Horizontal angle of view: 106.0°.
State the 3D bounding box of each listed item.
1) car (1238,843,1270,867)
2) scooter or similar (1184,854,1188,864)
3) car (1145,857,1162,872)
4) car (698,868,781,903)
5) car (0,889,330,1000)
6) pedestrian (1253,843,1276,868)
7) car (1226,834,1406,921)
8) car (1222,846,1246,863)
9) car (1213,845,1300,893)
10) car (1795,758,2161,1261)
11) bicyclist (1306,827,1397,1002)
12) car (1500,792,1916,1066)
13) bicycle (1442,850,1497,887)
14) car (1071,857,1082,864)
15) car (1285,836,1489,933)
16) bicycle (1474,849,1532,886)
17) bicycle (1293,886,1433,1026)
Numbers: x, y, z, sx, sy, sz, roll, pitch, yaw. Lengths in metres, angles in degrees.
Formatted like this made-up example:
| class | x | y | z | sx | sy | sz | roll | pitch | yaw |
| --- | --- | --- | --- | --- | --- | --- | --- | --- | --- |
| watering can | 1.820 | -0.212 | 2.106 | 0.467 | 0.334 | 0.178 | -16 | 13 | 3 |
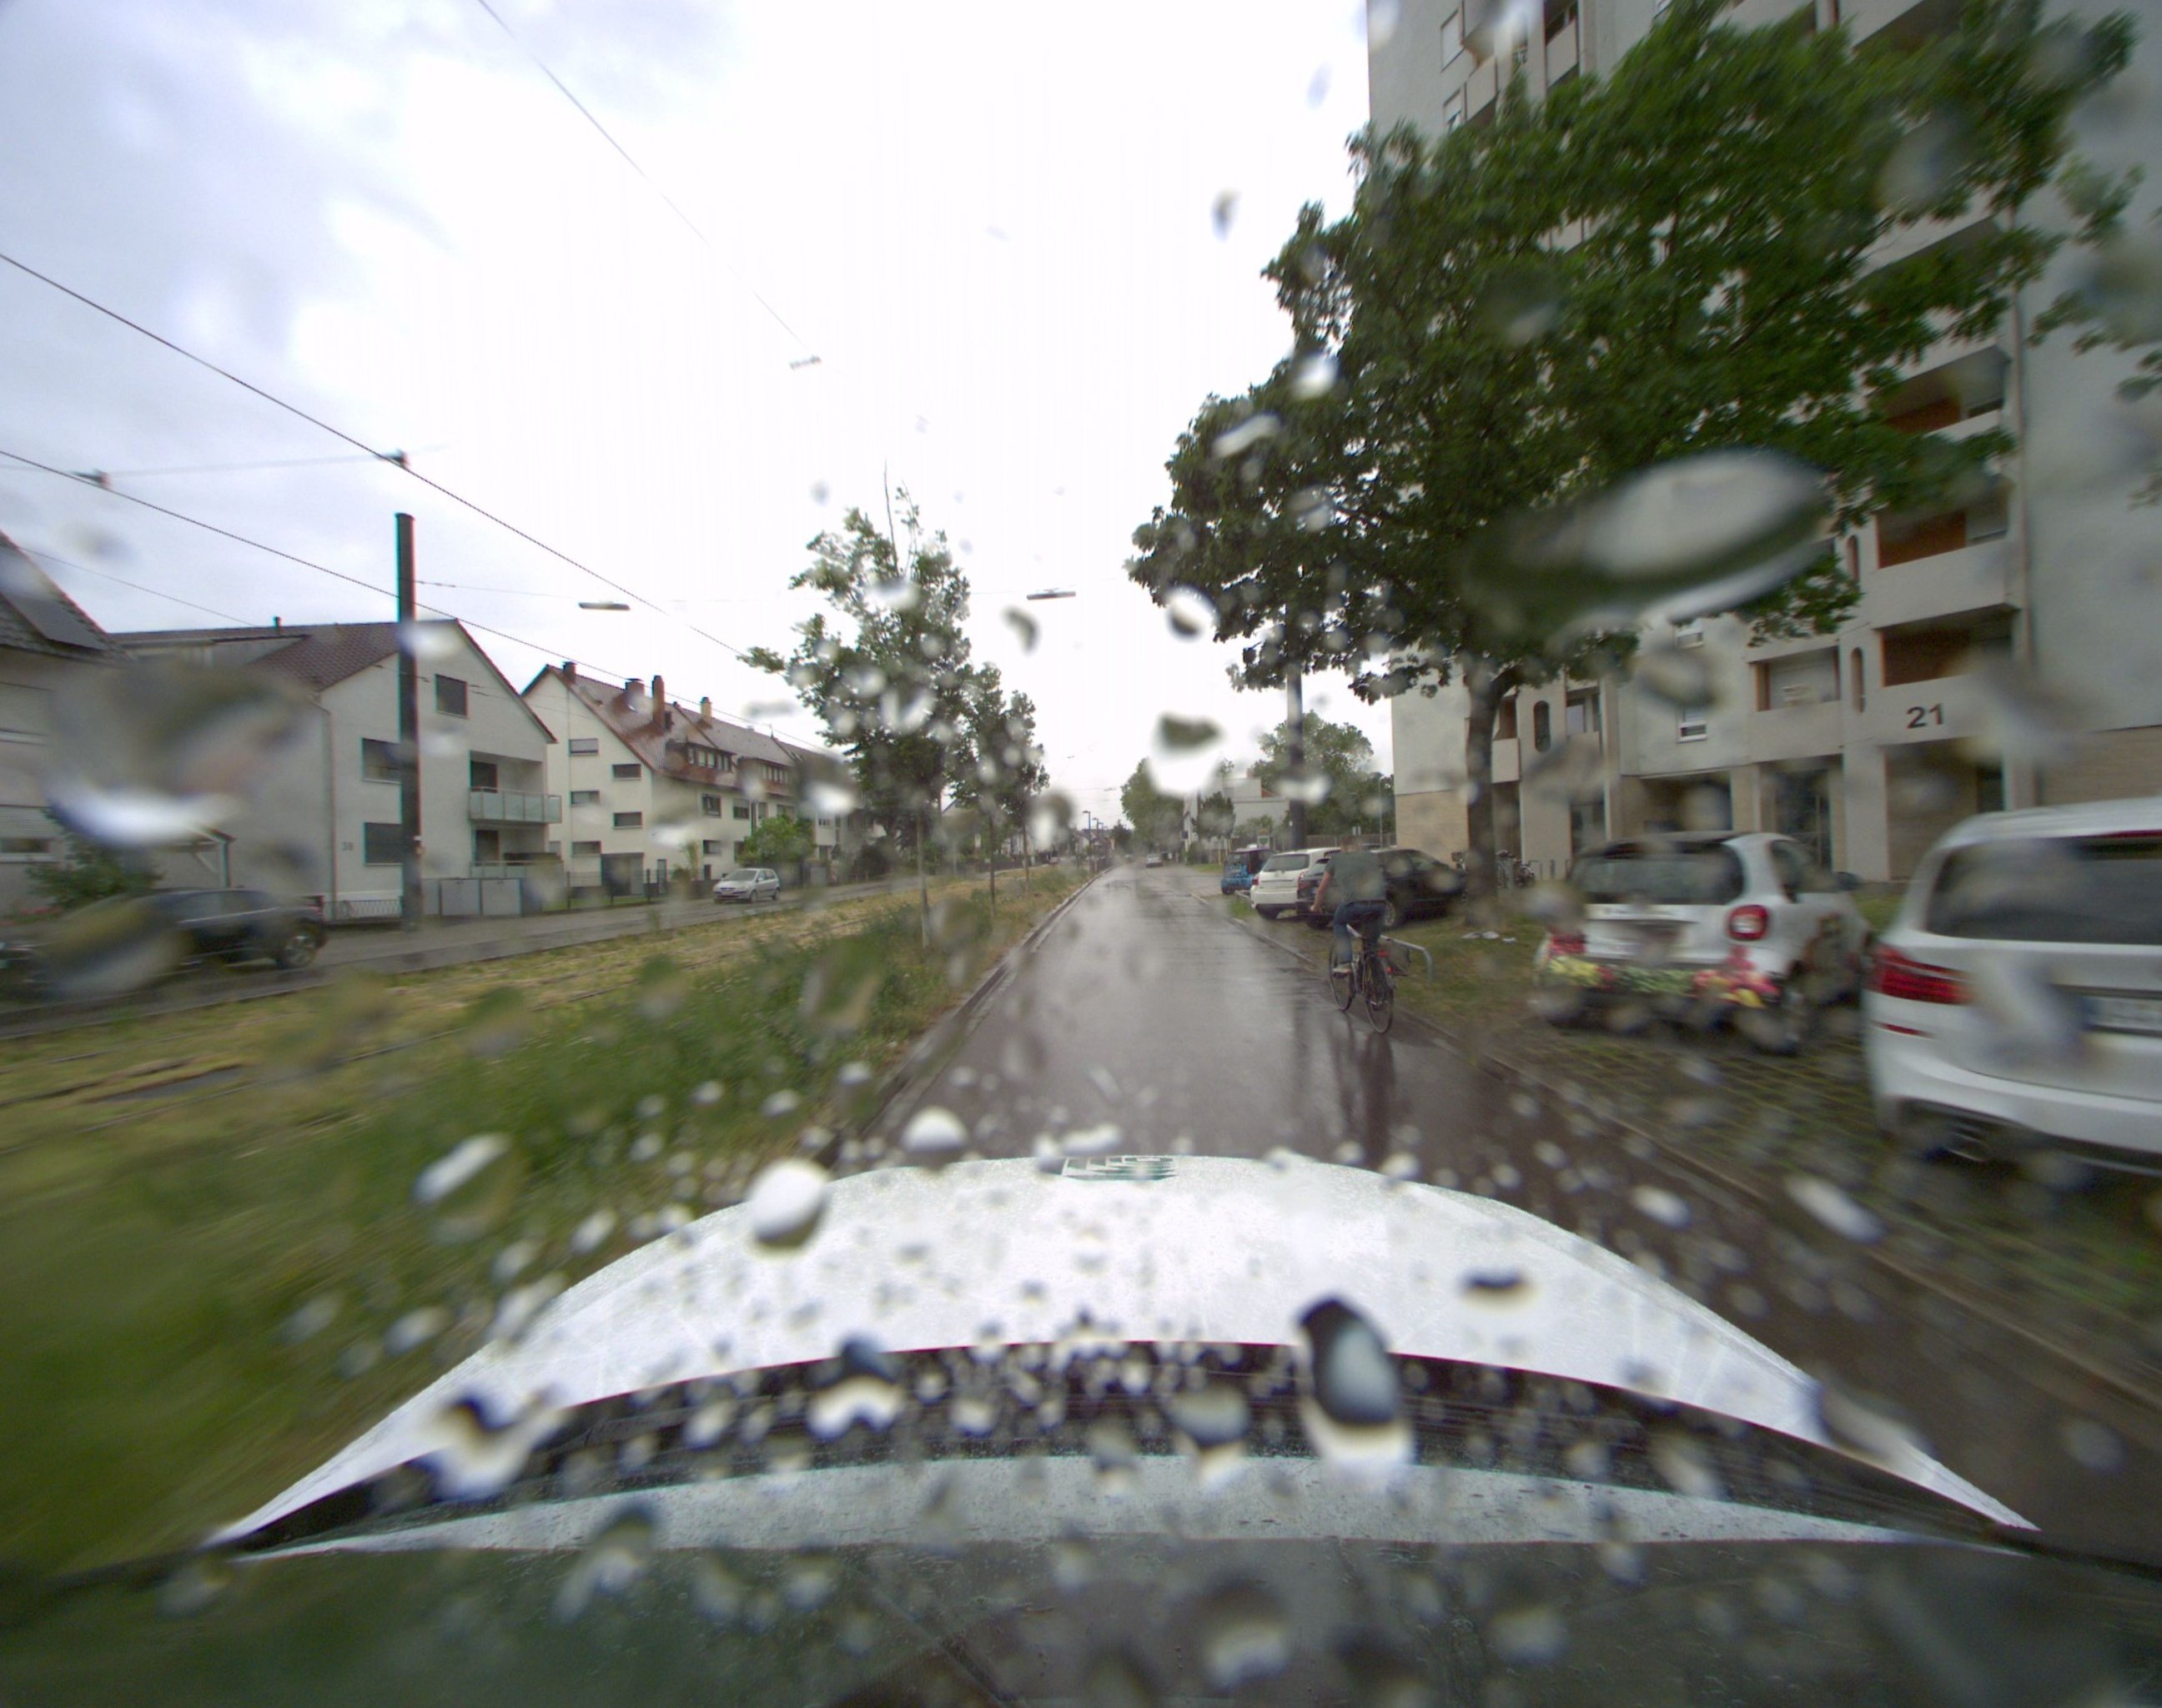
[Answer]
| class | x | y | z | sx | sy | sz | roll | pitch | yaw |
| --- | --- | --- | --- | --- | --- | --- | --- | --- | --- |
| car | 13.901 | 0.047 | 65.637 | 1.953 | 1.784 | 4.905 | -1 | 0 | 6 |
| scooter or similar | 11.196 | 0.519 | 86.854 | 0.331 | 1.085 | 1.399 | -1 | -1 | 10 |
| car | 7.944 | 1.128 | 88.899 | 1.642 | 1.405 | 4.655 | -5 | -1 | 5 |
| car | -14.740 | 1.327 | 35.360 | 1.986 | 1.414 | 3.658 | -1 | -1 | 1 |
| car | -15.427 | 1.379 | 13.600 | 1.830 | 1.427 | 4.175 | -1 | -1 | 1 |
| pedestrian | 11.171 | 0.079 | 49.628 | 0.840 | 1.517 | 1.085 | 0 | -1 | -26 |
| car | 5.473 | 0.485 | 18.728 | 4.206 | 1.547 | 1.745 | -5 | 1 | -38 |
| car | 14.584 | 0.047 | 77.828 | 1.953 | 1.535 | 4.371 | -1 | 0 | 6 |
| car | 6.072 | 0.505 | 28.098 | 2.577 | 1.548 | 1.585 | -2 | -1 | -38 |
| car | 5.345 | 0.365 | 4.053 | 4.483 | 1.671 | 1.792 | -5 | 1 | -37 |
| bicyclist | 2.536 | 0.546 | 7.694 | 0.533 | 1.559 | 0.771 | -1 | -1 | -4 |
| car | 5.690 | 0.422 | 7.213 | 4.204 | 1.671 | 1.666 | -5 | 1 | -35 |
| bicycle | 11.012 | 0.409 | 23.167 | 0.658 | 1.006 | 2.060 | -1 | -1 | 3 |
| car | -0.909 | 1.458 | 182.280 | 1.918 | 1.486 | 4.008 | -1 | -1 | 8 |
| car | 5.971 | 0.520 | 15.718 | 3.962 | 1.431 | 1.666 | -5 | 1 | -35 |
| bicycle | 11.956 | 0.376 | 23.139 | 0.658 | 1.006 | 2.060 | -1 | -1 | 3 |
| bicycle | 2.564 | 0.872 | 7.641 | 0.535 | 1.093 | 1.946 | -1 | -1 | -3 |
